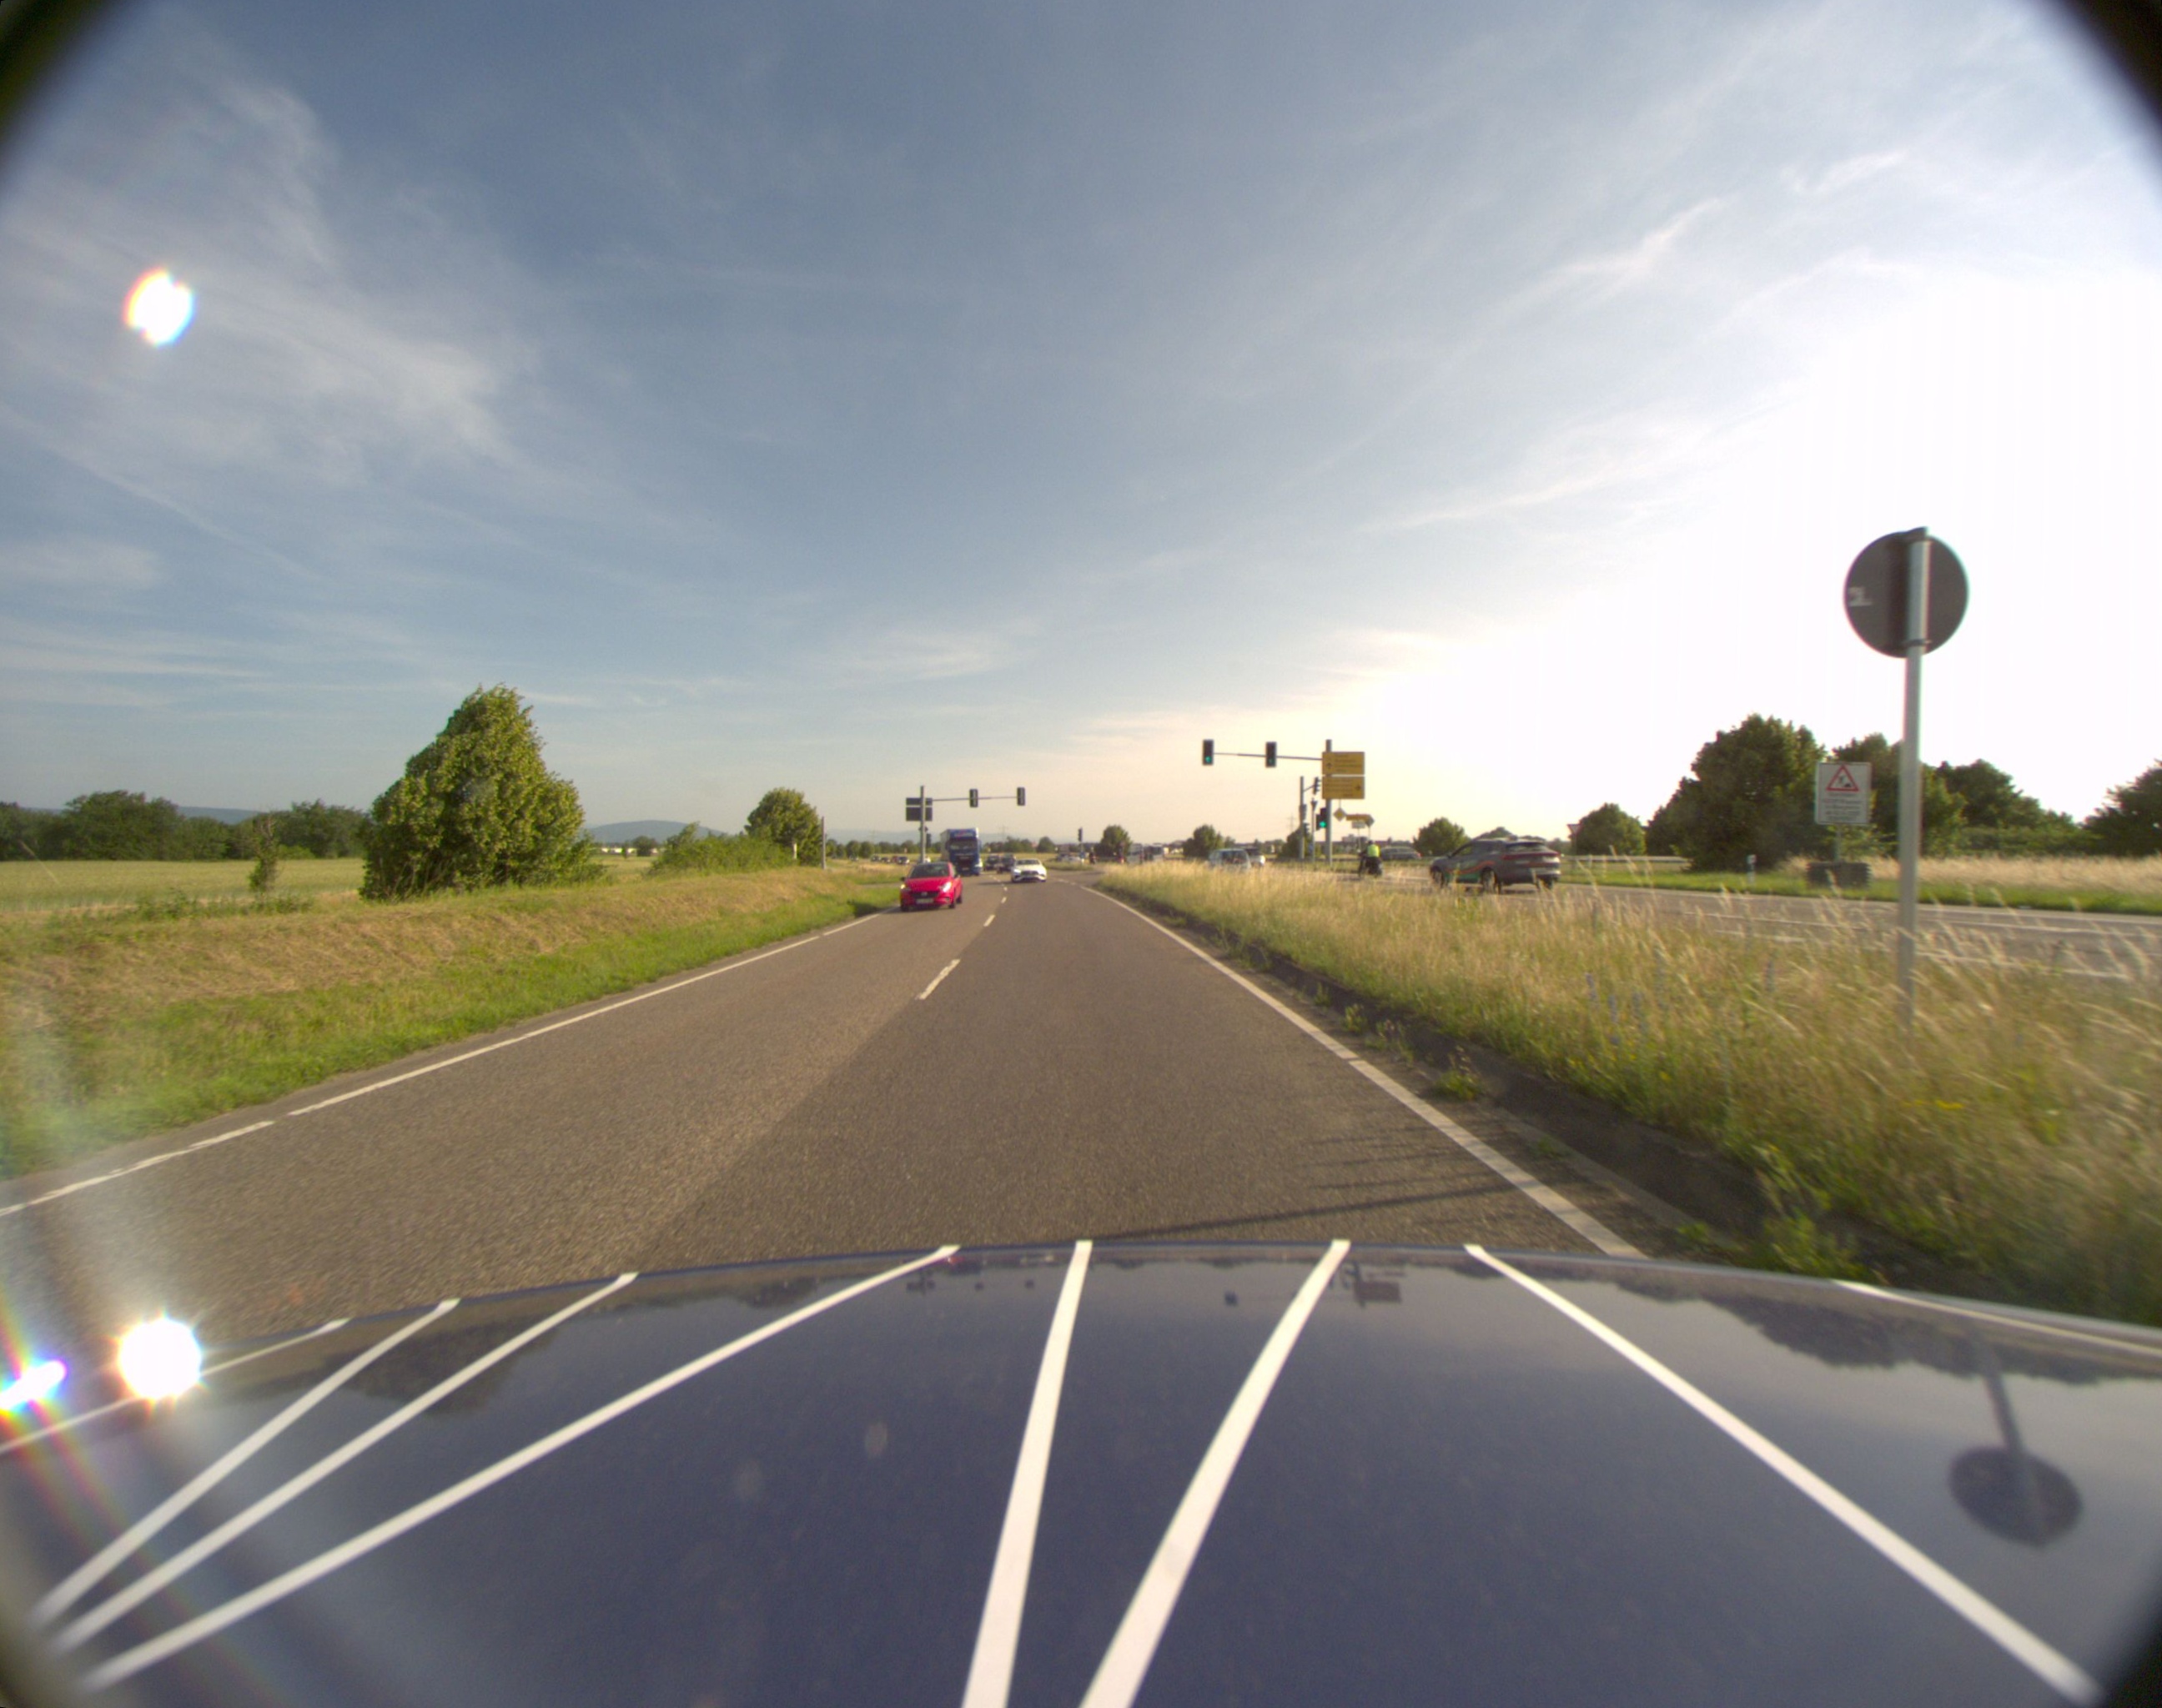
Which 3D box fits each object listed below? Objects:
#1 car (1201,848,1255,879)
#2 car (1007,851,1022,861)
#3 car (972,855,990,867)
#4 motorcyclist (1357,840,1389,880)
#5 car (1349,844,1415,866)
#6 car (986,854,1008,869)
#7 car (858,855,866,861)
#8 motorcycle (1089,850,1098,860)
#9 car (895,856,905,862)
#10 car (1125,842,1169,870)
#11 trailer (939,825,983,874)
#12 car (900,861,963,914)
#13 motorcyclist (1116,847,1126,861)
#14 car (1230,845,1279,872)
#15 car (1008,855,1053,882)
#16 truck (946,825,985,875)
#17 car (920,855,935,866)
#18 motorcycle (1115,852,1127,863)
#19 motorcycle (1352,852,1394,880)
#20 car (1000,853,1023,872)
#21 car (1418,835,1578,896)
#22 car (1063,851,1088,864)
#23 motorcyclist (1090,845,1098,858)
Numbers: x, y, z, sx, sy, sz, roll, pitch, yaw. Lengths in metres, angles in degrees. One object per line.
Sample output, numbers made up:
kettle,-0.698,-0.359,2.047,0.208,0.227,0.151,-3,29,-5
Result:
car,7.405,0.432,38.629,1.683,1.435,3.750,-2,0,-5
car,-10.402,0.360,118.851,1.692,1.514,4.087,-2,1,-13
car,-12.398,0.839,94.065,1.696,1.406,3.995,-2,1,-14
motorcyclist,12.106,0.224,31.525,0.754,1.595,1.249,-2,1,-3
car,21.880,0.069,55.259,4.001,1.390,1.958,-2,1,-12
car,-8.640,0.752,78.325,1.833,1.521,3.995,-2,1,-12
car,-61.110,1.107,211.984,1.553,1.687,3.622,-2,0,-25
motorcycle,1.524,0.154,90.296,0.703,1.131,2.276,-2,0,-8
car,-39.581,1.111,166.311,1.521,1.387,3.511,-2,0,-24
car,4.886,0.131,57.409,2.000,1.893,5.784,-2,1,-8
trailer,-11.194,-0.384,69.722,2.654,3.956,13.913,-3,1,-13
car,-4.818,1.037,24.958,1.666,1.455,3.952,-2,1,-7
motorcyclist,4.185,0.019,79.994,0.707,1.456,1.019,-2,1,-13
car,10.548,0.250,46.582,1.711,1.516,4.132,-2,1,-5
car,-3.006,0.813,44.648,1.878,1.390,4.199,-2,1,-14
truck,-9.689,-0.332,63.436,2.654,3.897,5.943,-3,1,-13
car,-27.315,1.173,135.097,2.001,1.871,3.994,-2,0,-18
motorcycle,4.205,0.380,79.969,0.710,1.152,2.020,-2,1,-14
motorcycle,12.129,0.493,31.637,0.754,1.087,2.307,-2,1,-3
car,-6.047,0.701,66.253,1.752,1.521,3.997,-2,1,-8
car,12.064,0.299,22.403,1.918,1.556,4.608,-2,0,-4
car,-0.617,0.390,82.135,1.700,1.345,4.448,-2,0,-12
motorcyclist,1.535,-0.249,90.241,0.700,1.494,0.896,-2,0,-8
